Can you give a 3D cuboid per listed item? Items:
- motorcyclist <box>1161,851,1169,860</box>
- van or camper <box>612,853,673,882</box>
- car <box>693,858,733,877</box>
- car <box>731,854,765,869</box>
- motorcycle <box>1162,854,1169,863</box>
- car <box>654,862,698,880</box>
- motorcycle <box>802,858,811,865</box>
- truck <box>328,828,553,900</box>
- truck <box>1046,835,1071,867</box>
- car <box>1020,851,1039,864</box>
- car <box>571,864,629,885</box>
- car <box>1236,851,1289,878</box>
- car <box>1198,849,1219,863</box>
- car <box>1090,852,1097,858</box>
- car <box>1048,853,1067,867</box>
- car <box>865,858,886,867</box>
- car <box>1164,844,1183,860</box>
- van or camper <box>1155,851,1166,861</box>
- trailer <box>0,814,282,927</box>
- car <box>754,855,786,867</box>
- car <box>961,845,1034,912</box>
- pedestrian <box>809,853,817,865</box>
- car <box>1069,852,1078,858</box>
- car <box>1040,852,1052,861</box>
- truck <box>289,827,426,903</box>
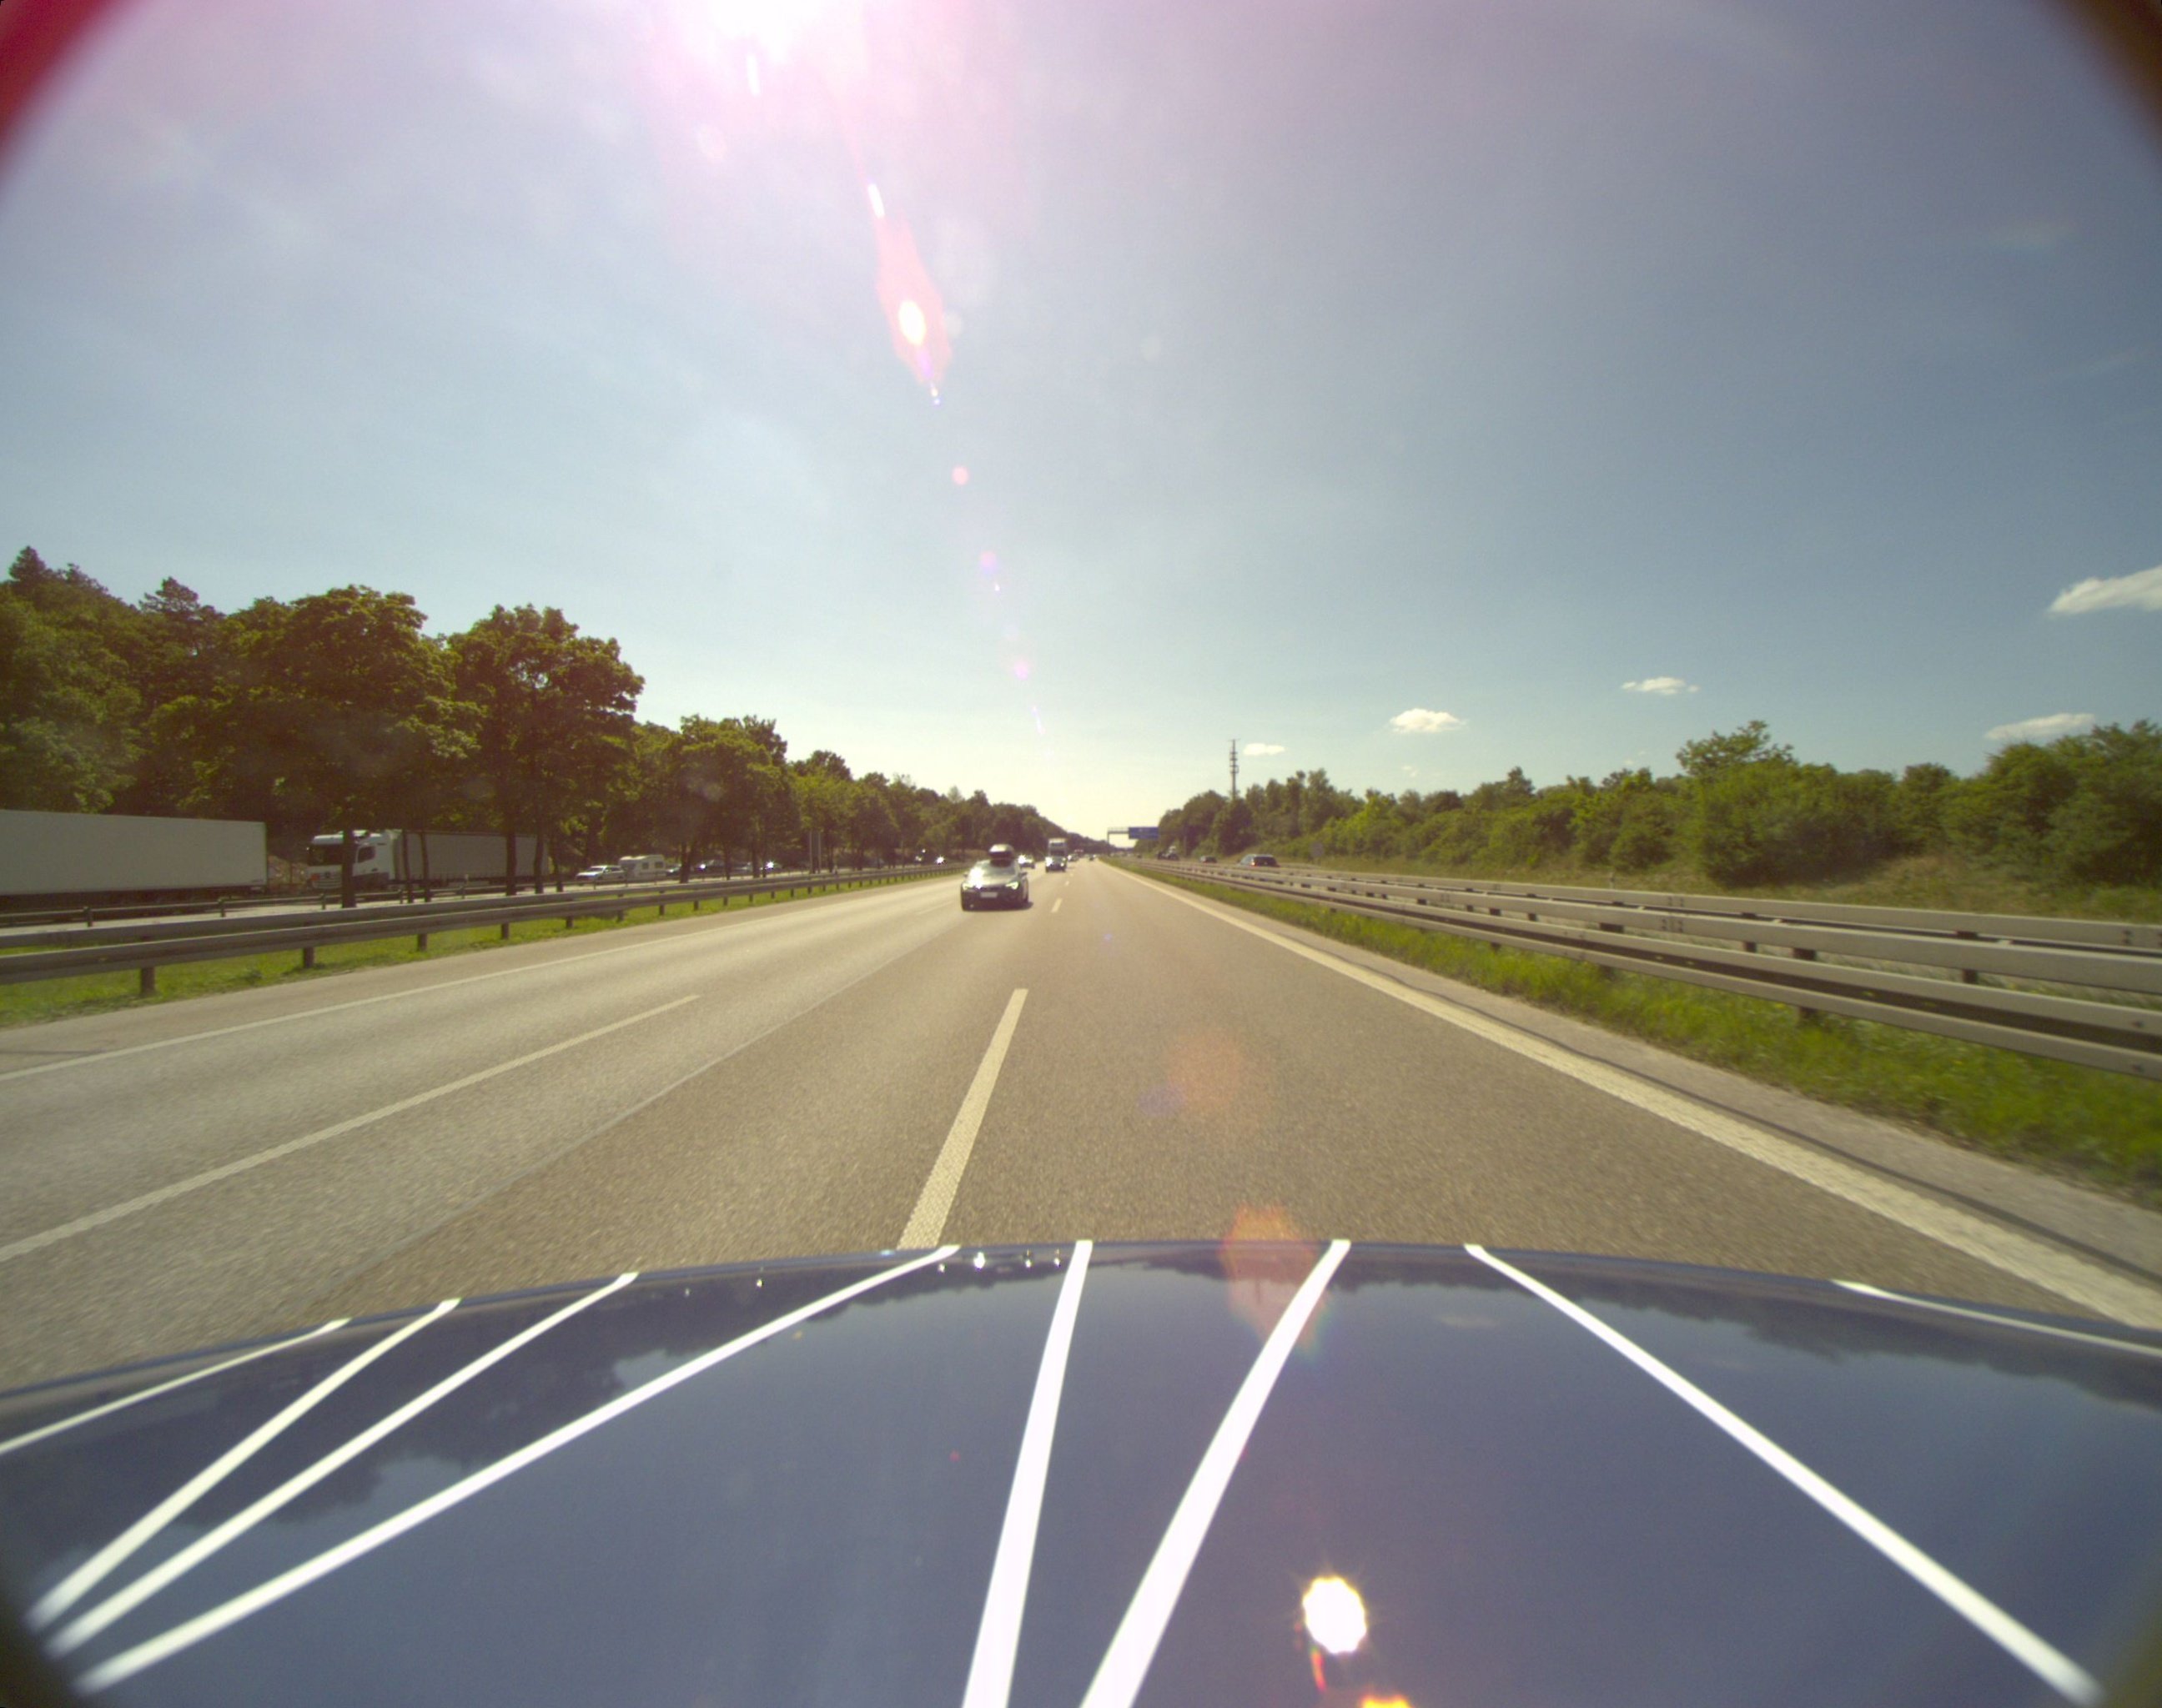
[{"bbox_3d":[10.355,0.176,93.233,0.877,1.070,0.811,1,1,1],"label":"motorcyclist"},{"bbox_3d":[-40.673,1.212,70.679,2.209,2.516,5.875,-1,0,1],"label":"van or camper"},{"bbox_3d":[-40.244,1.472,83.292,1.659,1.866,4.801,-1,0,5],"label":"car"},{"bbox_3d":[-40.575,0.912,92.653,1.659,1.666,4.653,-1,0,5],"label":"car"},{"bbox_3d":[10.312,0.502,93.159,0.666,1.070,1.881,1,1,1],"label":"motorcycle"},{"bbox_3d":[-40.691,1.658,76.455,1.659,1.632,4.498,-1,0,5],"label":"car"},{"bbox_3d":[-39.846,1.104,110.225,0.559,1.024,1.673,0,0,7],"label":"motorcycle"},{"bbox_3d":[-40.274,0.507,49.072,3.005,3.908,14.453,-1,0,-4],"label":"truck"},{"bbox_3d":[-2.663,-0.319,91.523,2.676,3.660,6.484,-1,0,2],"label":"truck"},{"bbox_3d":[-6.140,0.417,91.226,1.848,1.559,4.036,-2,0,2],"label":"car"},{"bbox_3d":[-40.691,1.717,64.381,1.659,1.588,4.556,-1,0,5],"label":"car"},{"bbox_3d":[10.120,0.559,42.727,1.998,1.431,4.203,-1,0,1],"label":"car"},{"bbox_3d":[14.627,0.218,87.153,1.747,1.450,4.232,-1,0,1],"label":"car"},{"bbox_3d":[2.878,0.283,171.509,1.591,1.291,3.383,0,0,2],"label":"car"},{"bbox_3d":[-2.135,0.538,69.159,1.537,1.265,2.770,-1,0,1],"label":"car"},{"bbox_3d":[-37.166,1.546,137.615,1.997,1.641,4.321,0,0,10],"label":"car"},{"bbox_3d":[12.651,-0.291,104.584,1.999,2.097,4.301,-2,0,-1],"label":"car"},{"bbox_3d":[19.146,0.538,183.802,1.998,2.378,6.241,1,0,1],"label":"van or camper"},{"bbox_3d":[-38.072,0.573,28.353,2.866,3.774,14.180,-1,0,-7],"label":"trailer"},{"bbox_3d":[-40.391,0.898,98.858,1.997,1.565,4.003,-1,0,9],"label":"car"},{"bbox_3d":[-2.498,0.687,23.781,1.669,1.865,4.827,0,0,1],"label":"car"},{"bbox_3d":[-39.147,0.688,110.910,0.641,1.772,0.802,0,1,40],"label":"pedestrian"},{"bbox_3d":[-1.601,0.289,165.150,1.831,1.346,3.680,0,0,2],"label":"car"},{"bbox_3d":[-7.003,0.549,153.359,1.924,1.659,4.688,-2,0,4],"label":"car"},{"bbox_3d":[-39.781,0.536,42.029,2.979,3.908,4.831,-1,1,-4],"label":"truck"}]
